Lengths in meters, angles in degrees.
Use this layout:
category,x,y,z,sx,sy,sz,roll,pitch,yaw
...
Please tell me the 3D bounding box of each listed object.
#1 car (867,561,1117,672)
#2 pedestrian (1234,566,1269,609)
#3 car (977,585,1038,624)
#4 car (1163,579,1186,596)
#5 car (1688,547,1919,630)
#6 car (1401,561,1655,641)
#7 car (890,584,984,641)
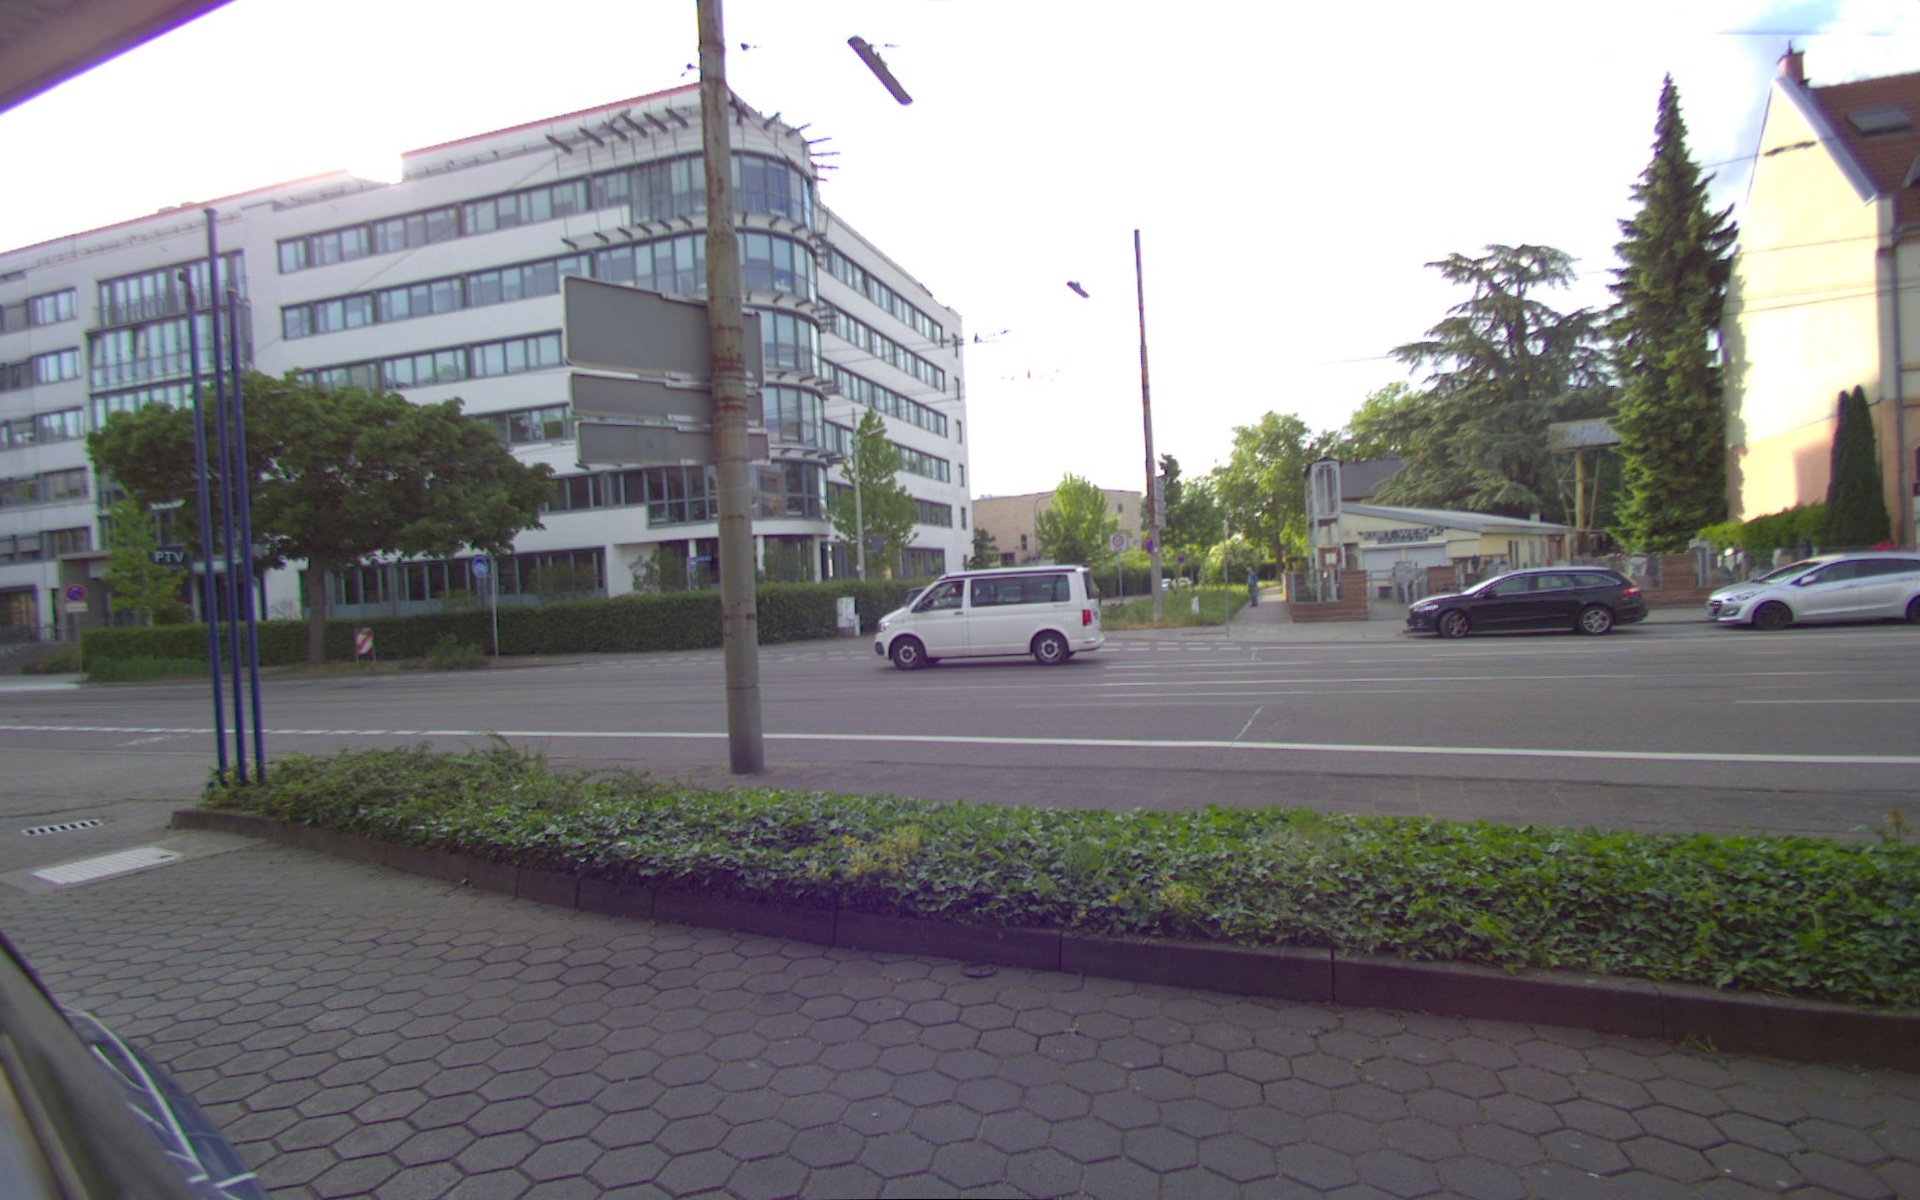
category,x,y,z,sx,sy,sz,roll,pitch,yaw
car,0.708,0.353,21.220,4.845,1.983,1.990,-3,0,16
pedestrian,12.712,-0.531,44.156,0.988,1.843,1.096,-1,0,-28
car,2.208,0.175,45.756,1.773,1.565,4.083,-4,0,17
car,22.565,-1.298,106.312,1.774,1.653,4.060,-4,0,19
car,18.494,-0.259,21.499,4.459,1.486,1.986,-4,0,22
car,12.918,0.042,23.416,4.791,1.507,1.986,-3,0,22
car,-0.721,0.380,35.537,1.962,1.625,4.411,-4,2,17
